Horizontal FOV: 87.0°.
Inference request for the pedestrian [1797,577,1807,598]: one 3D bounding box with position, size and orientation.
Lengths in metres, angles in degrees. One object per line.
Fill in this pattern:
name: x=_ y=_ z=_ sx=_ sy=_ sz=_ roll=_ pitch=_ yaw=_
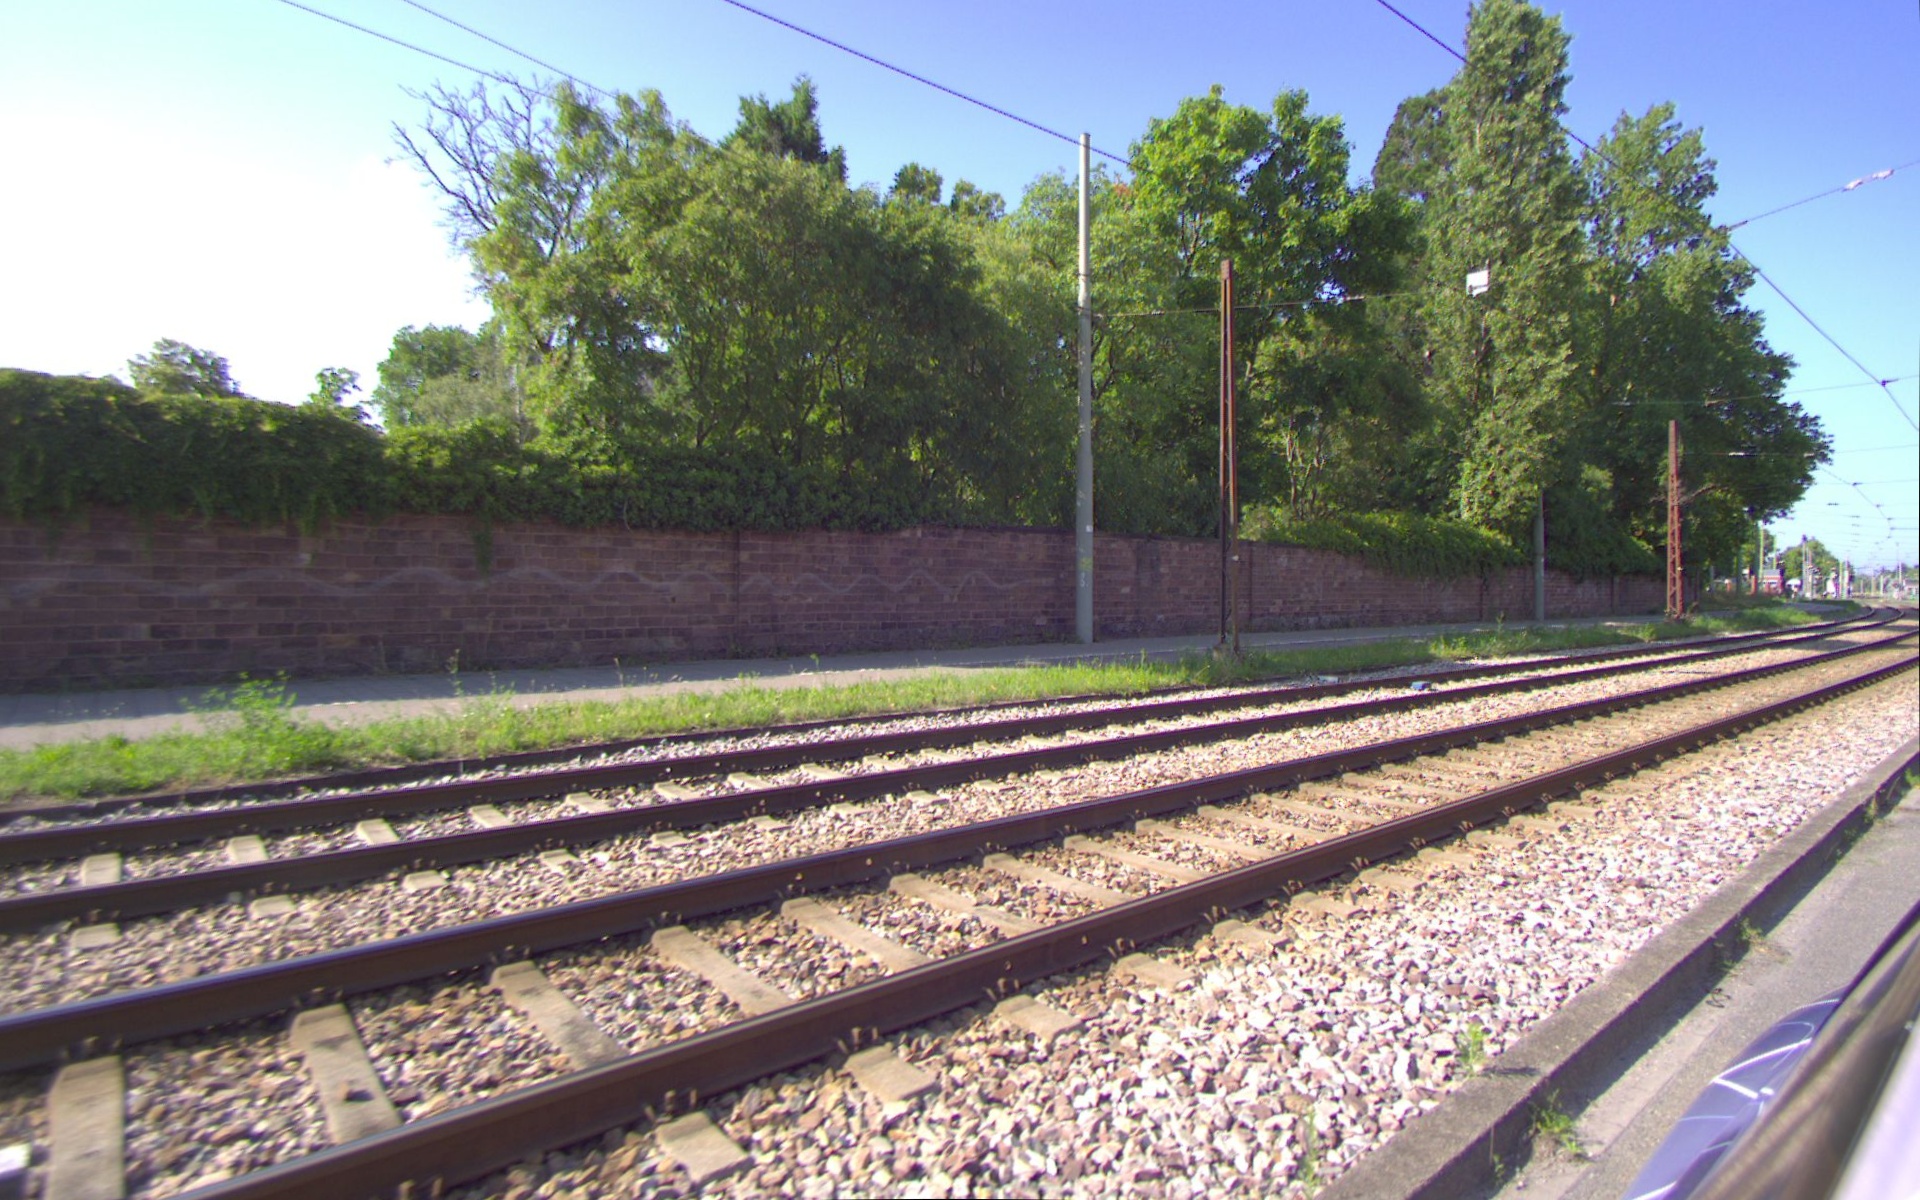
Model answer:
pedestrian: x=69.810 y=-1.066 z=83.920 sx=0.869 sy=1.737 sz=0.501 roll=0 pitch=1 yaw=-40
